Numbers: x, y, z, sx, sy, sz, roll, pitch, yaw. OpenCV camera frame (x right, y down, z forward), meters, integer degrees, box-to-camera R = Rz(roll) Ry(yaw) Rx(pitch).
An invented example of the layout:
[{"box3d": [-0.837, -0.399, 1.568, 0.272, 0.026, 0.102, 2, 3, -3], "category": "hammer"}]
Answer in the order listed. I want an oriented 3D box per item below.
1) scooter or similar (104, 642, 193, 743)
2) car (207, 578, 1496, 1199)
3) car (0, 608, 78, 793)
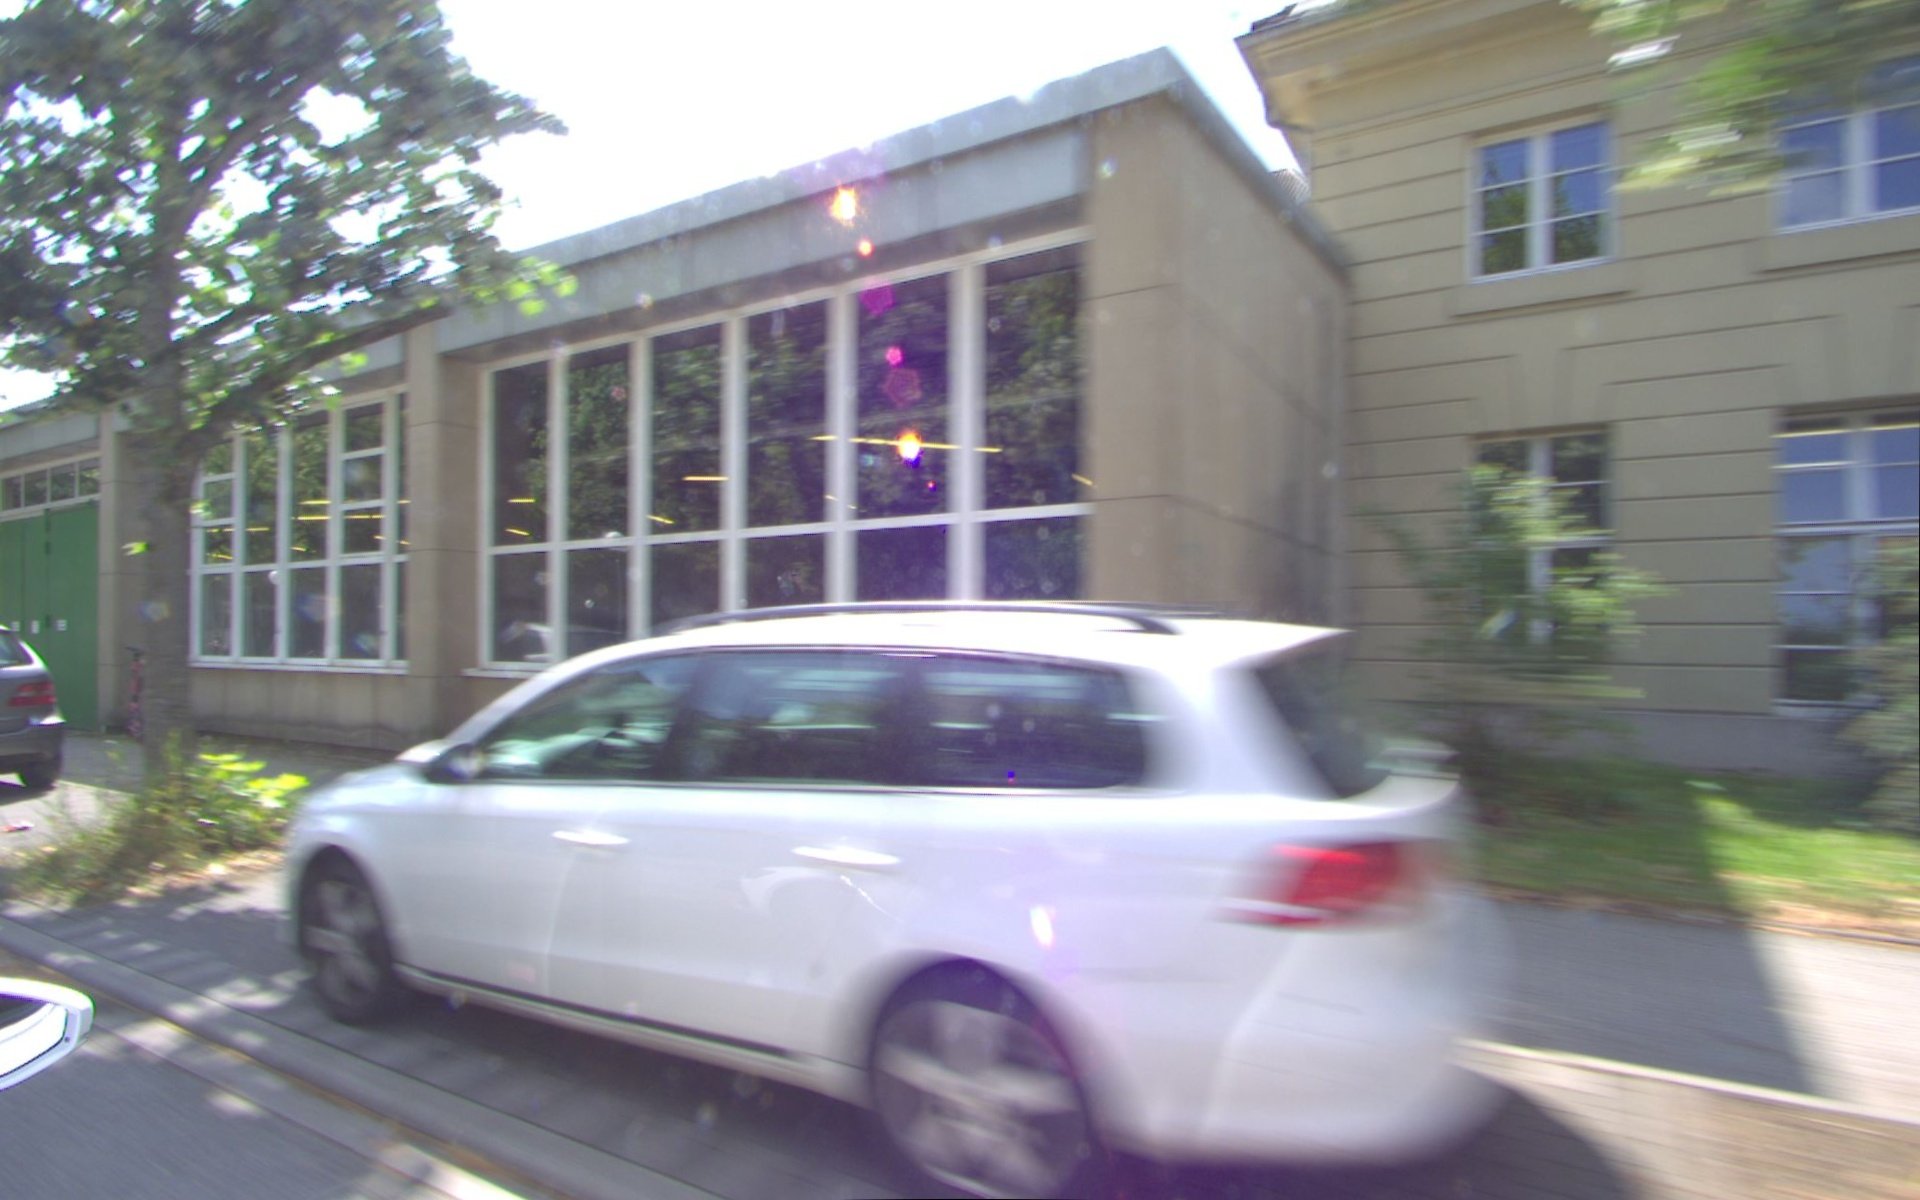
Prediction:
[{"box3d": [-10.481, 1.164, 12.917, 1.471, 1.233, 0.415, -1, 0, 31], "category": "scooter or similar"}, {"box3d": [-0.649, 0.742, 3.689, 4.601, 1.486, 1.724, -1, -1, 30], "category": "car"}, {"box3d": [-10.217, 0.897, 9.393, 4.078, 1.594, 1.702, -1, -1, 30], "category": "car"}]
